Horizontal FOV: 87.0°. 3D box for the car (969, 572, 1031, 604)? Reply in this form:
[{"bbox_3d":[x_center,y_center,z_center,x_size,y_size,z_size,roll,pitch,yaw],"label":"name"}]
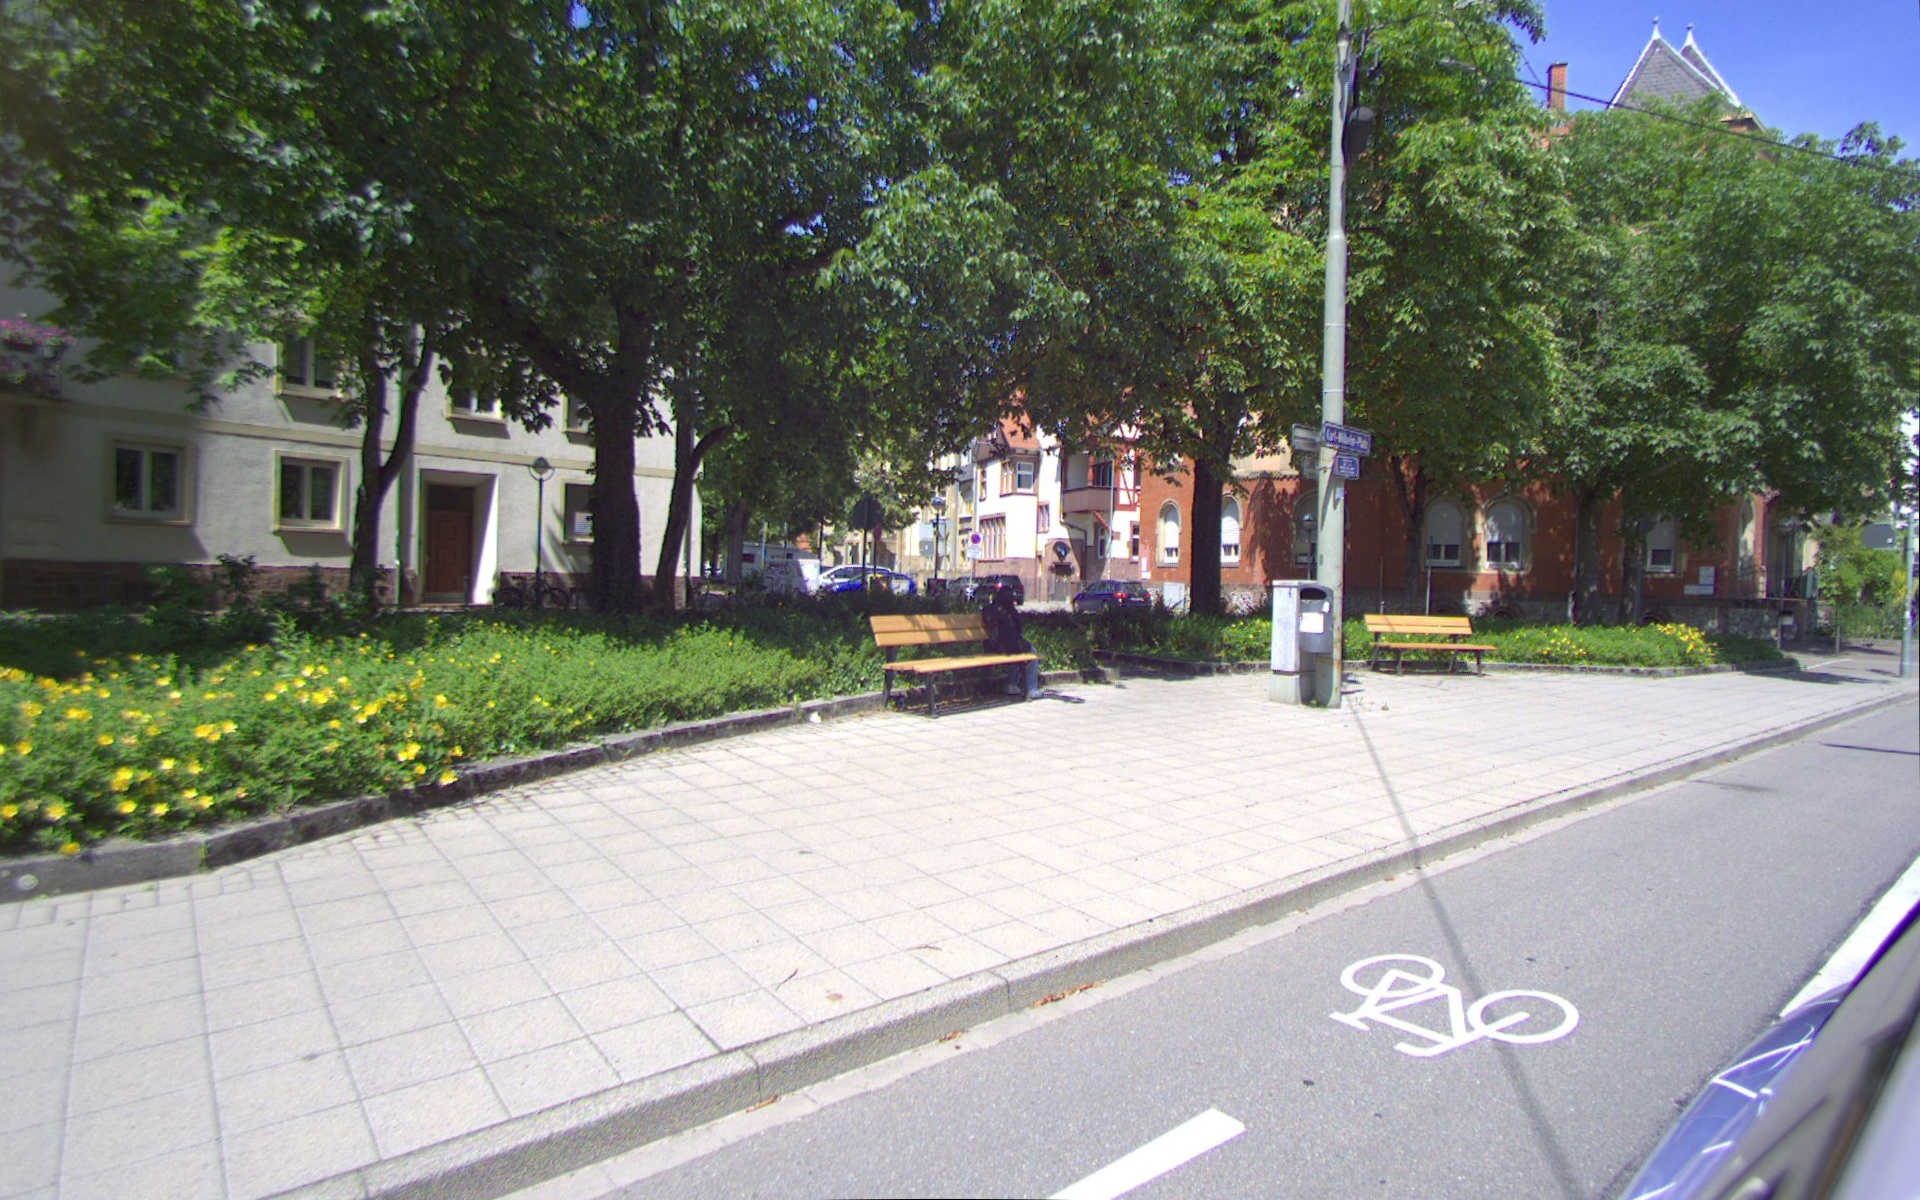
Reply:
[{"bbox_3d":[2.067,-0.621,54.080,1.897,1.638,4.318,0,0,-19],"label":"car"}]

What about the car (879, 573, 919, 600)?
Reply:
[{"bbox_3d":[-4.503,-1.006,74.467,1.897,1.897,4.318,0,0,-19],"label":"car"}]

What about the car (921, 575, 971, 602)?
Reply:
[{"bbox_3d":[-0.918,-0.692,63.258,1.897,1.638,4.318,0,0,-19],"label":"car"}]

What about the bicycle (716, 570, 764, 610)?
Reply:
[{"bbox_3d":[-5.867,-0.270,26.909,0.736,1.024,2.273,0,0,-26],"label":"bicycle"}]

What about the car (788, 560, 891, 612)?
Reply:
[{"bbox_3d":[-5.371,-0.629,44.834,4.219,2.219,1.942,0,0,-18],"label":"car"}]

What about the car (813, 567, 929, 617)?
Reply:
[{"bbox_3d":[-3.543,-0.324,40.021,4.219,1.903,1.942,0,0,-18],"label":"car"}]

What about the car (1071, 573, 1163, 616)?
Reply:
[{"bbox_3d":[6.276,-0.235,41.031,1.897,1.638,4.318,0,0,-19],"label":"car"}]

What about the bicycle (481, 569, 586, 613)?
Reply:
[{"bbox_3d":[-10.251,-0.223,24.380,2.230,1.024,0.751,-1,0,-41],"label":"bicycle"}]

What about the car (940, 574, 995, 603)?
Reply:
[{"bbox_3d":[0.380,-0.656,58.687,1.897,1.638,4.318,0,0,-19],"label":"car"}]

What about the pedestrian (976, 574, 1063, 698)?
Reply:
[{"bbox_3d":[0.600,0.333,10.080,0.562,1.156,0.718,3,2,33],"label":"pedestrian"}]

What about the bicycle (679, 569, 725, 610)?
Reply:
[{"bbox_3d":[-6.774,-0.261,26.480,0.736,1.024,2.273,0,0,-26],"label":"bicycle"}]

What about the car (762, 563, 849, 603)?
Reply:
[{"bbox_3d":[-8.084,-0.884,52.943,4.219,2.029,1.942,0,0,-18],"label":"car"}]
